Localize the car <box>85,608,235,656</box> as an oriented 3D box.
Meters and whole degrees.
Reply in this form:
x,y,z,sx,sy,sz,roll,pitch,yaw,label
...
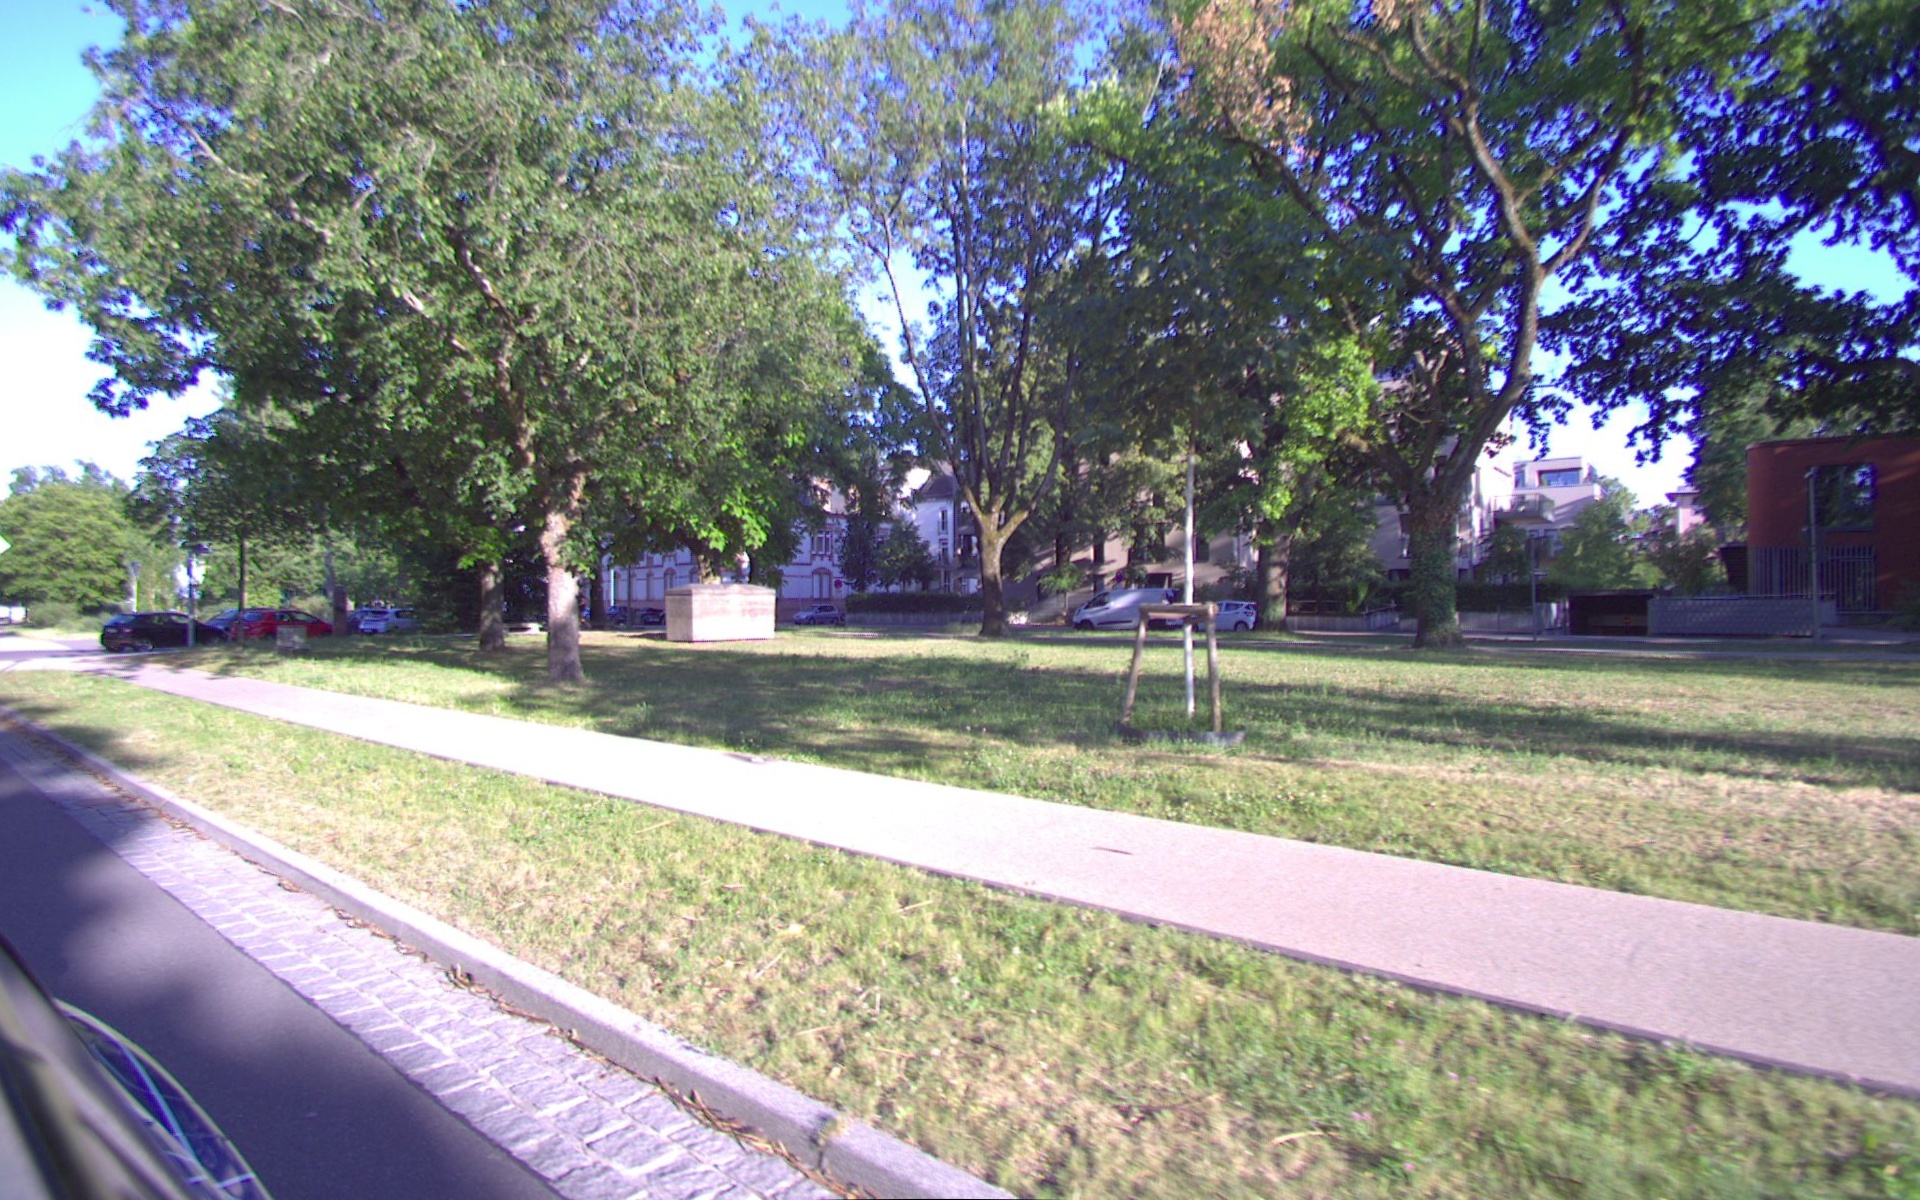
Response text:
x,y,z,sx,sy,sz,roll,pitch,yaw,label
-29.221,1.126,37.103,1.874,1.586,3.979,1,1,16,car

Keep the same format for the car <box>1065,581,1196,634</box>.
x,y,z,sx,sy,sz,roll,pitch,yaw,label
7.358,0.324,43.887,4.966,2.130,2.642,-1,0,41,car

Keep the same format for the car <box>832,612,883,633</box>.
x,y,z,sx,sy,sz,roll,pitch,yaw,label
-8.437,1.819,83.385,1.890,1.586,3.946,1,1,41,car

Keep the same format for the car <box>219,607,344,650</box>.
x,y,z,sx,sy,sz,roll,pitch,yaw,label
-27.727,1.138,41.514,1.874,1.586,3.979,1,1,16,car

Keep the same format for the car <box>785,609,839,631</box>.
x,y,z,sx,sy,sz,roll,pitch,yaw,label
-11.630,1.552,79.776,1.890,1.586,3.945,1,1,41,car

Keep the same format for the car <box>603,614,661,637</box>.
x,y,z,sx,sy,sz,roll,pitch,yaw,label
-25.067,1.944,77.394,3.936,1.586,1.895,1,0,-9,car

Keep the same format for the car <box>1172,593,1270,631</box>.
x,y,z,sx,sy,sz,roll,pitch,yaw,label
11.528,0.526,44.759,3.737,1.630,1.973,-1,0,42,car

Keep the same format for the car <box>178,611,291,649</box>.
x,y,z,sx,sy,sz,roll,pitch,yaw,label
-32.530,1.316,45.517,1.824,1.643,3.825,0,-1,17,car

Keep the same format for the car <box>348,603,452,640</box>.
x,y,z,sx,sy,sz,roll,pitch,yaw,label
-25.841,0.955,46.855,1.877,1.586,3.973,1,1,20,car

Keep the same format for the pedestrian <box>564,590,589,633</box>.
x,y,z,sx,sy,sz,roll,pitch,yaw,label
-15.560,0.476,41.024,0.670,1.708,0.656,-1,0,33,pedestrian

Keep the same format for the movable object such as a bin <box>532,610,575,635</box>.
x,y,z,sx,sy,sz,roll,pitch,yaw,label
-16.162,0.888,40.244,0.947,0.997,1.318,0,-1,33,movable object such as a bin

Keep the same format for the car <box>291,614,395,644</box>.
x,y,z,sx,sy,sz,roll,pitch,yaw,label
-30.784,1.415,50.625,1.825,1.411,4.250,0,-1,19,car
